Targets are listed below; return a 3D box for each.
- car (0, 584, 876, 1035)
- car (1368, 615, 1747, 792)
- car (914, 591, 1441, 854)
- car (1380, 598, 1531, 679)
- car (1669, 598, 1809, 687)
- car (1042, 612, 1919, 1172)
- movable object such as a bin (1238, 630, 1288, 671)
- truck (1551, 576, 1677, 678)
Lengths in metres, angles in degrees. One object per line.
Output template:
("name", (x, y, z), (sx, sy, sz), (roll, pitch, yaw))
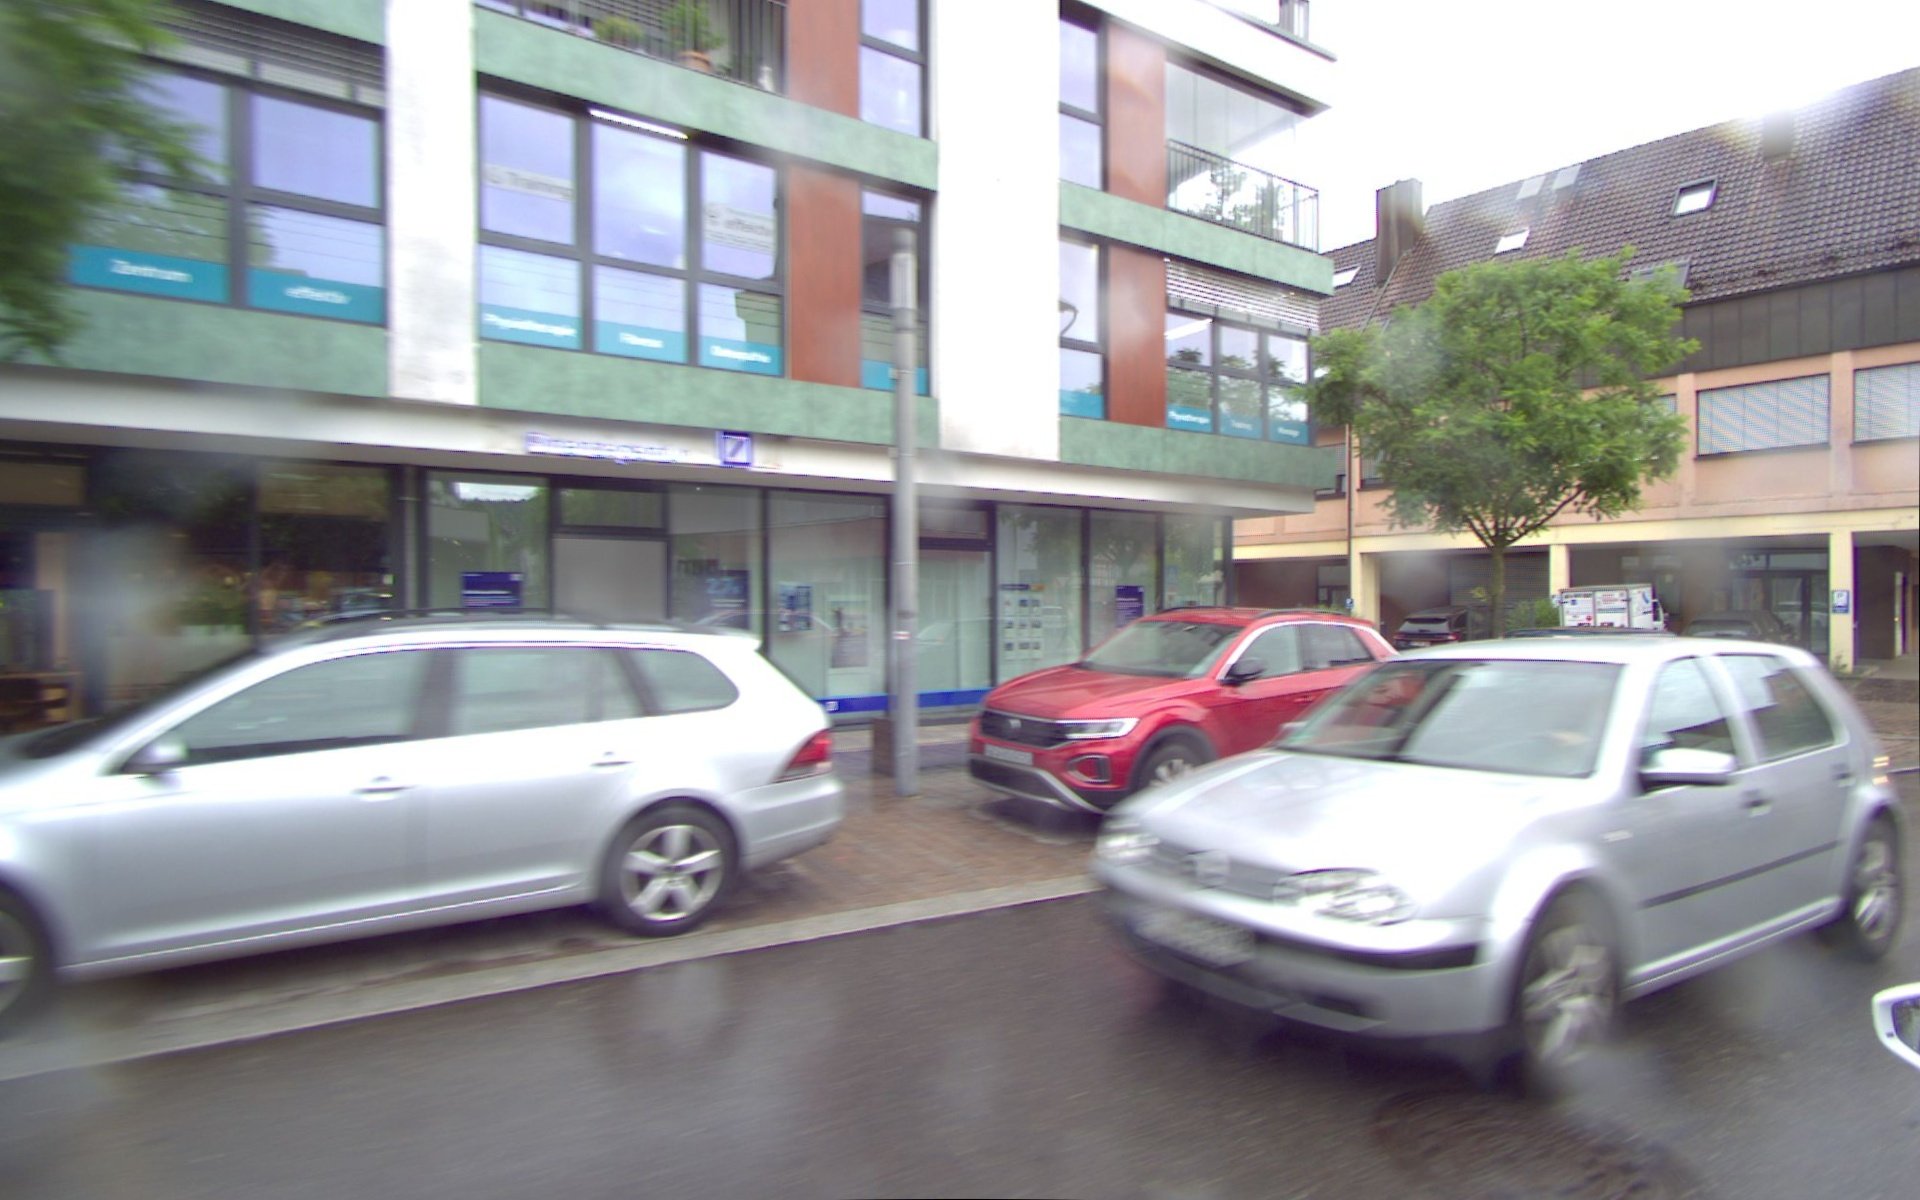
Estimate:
("car", (-2.754, 0.741, 4.761), (4.406, 1.518, 1.776), (1, -1, -33))
("car", (6.199, 0.922, 10.344), (3.864, 1.477, 1.706), (1, 0, -31))
("car", (1.823, 0.797, 7.983), (4.063, 1.597, 1.776), (1, -1, -33))
("car", (12.685, 0.902, 25.623), (3.961, 1.640, 1.800), (-5, 3, -36))
("car", (16.849, 0.846, 21.672), (3.789, 1.499, 1.565), (-5, 3, -39))
("car", (2.502, 0.811, 4.390), (3.982, 1.436, 1.782), (1, -3, -30))
("movable object such as a bin", (8.749, 1.457, 29.024), (0.914, 1.111, 0.994), (-4, 0, -31))
("truck", (15.431, 0.606, 23.656), (3.166, 2.090, 1.584), (-5, 1, -40))
